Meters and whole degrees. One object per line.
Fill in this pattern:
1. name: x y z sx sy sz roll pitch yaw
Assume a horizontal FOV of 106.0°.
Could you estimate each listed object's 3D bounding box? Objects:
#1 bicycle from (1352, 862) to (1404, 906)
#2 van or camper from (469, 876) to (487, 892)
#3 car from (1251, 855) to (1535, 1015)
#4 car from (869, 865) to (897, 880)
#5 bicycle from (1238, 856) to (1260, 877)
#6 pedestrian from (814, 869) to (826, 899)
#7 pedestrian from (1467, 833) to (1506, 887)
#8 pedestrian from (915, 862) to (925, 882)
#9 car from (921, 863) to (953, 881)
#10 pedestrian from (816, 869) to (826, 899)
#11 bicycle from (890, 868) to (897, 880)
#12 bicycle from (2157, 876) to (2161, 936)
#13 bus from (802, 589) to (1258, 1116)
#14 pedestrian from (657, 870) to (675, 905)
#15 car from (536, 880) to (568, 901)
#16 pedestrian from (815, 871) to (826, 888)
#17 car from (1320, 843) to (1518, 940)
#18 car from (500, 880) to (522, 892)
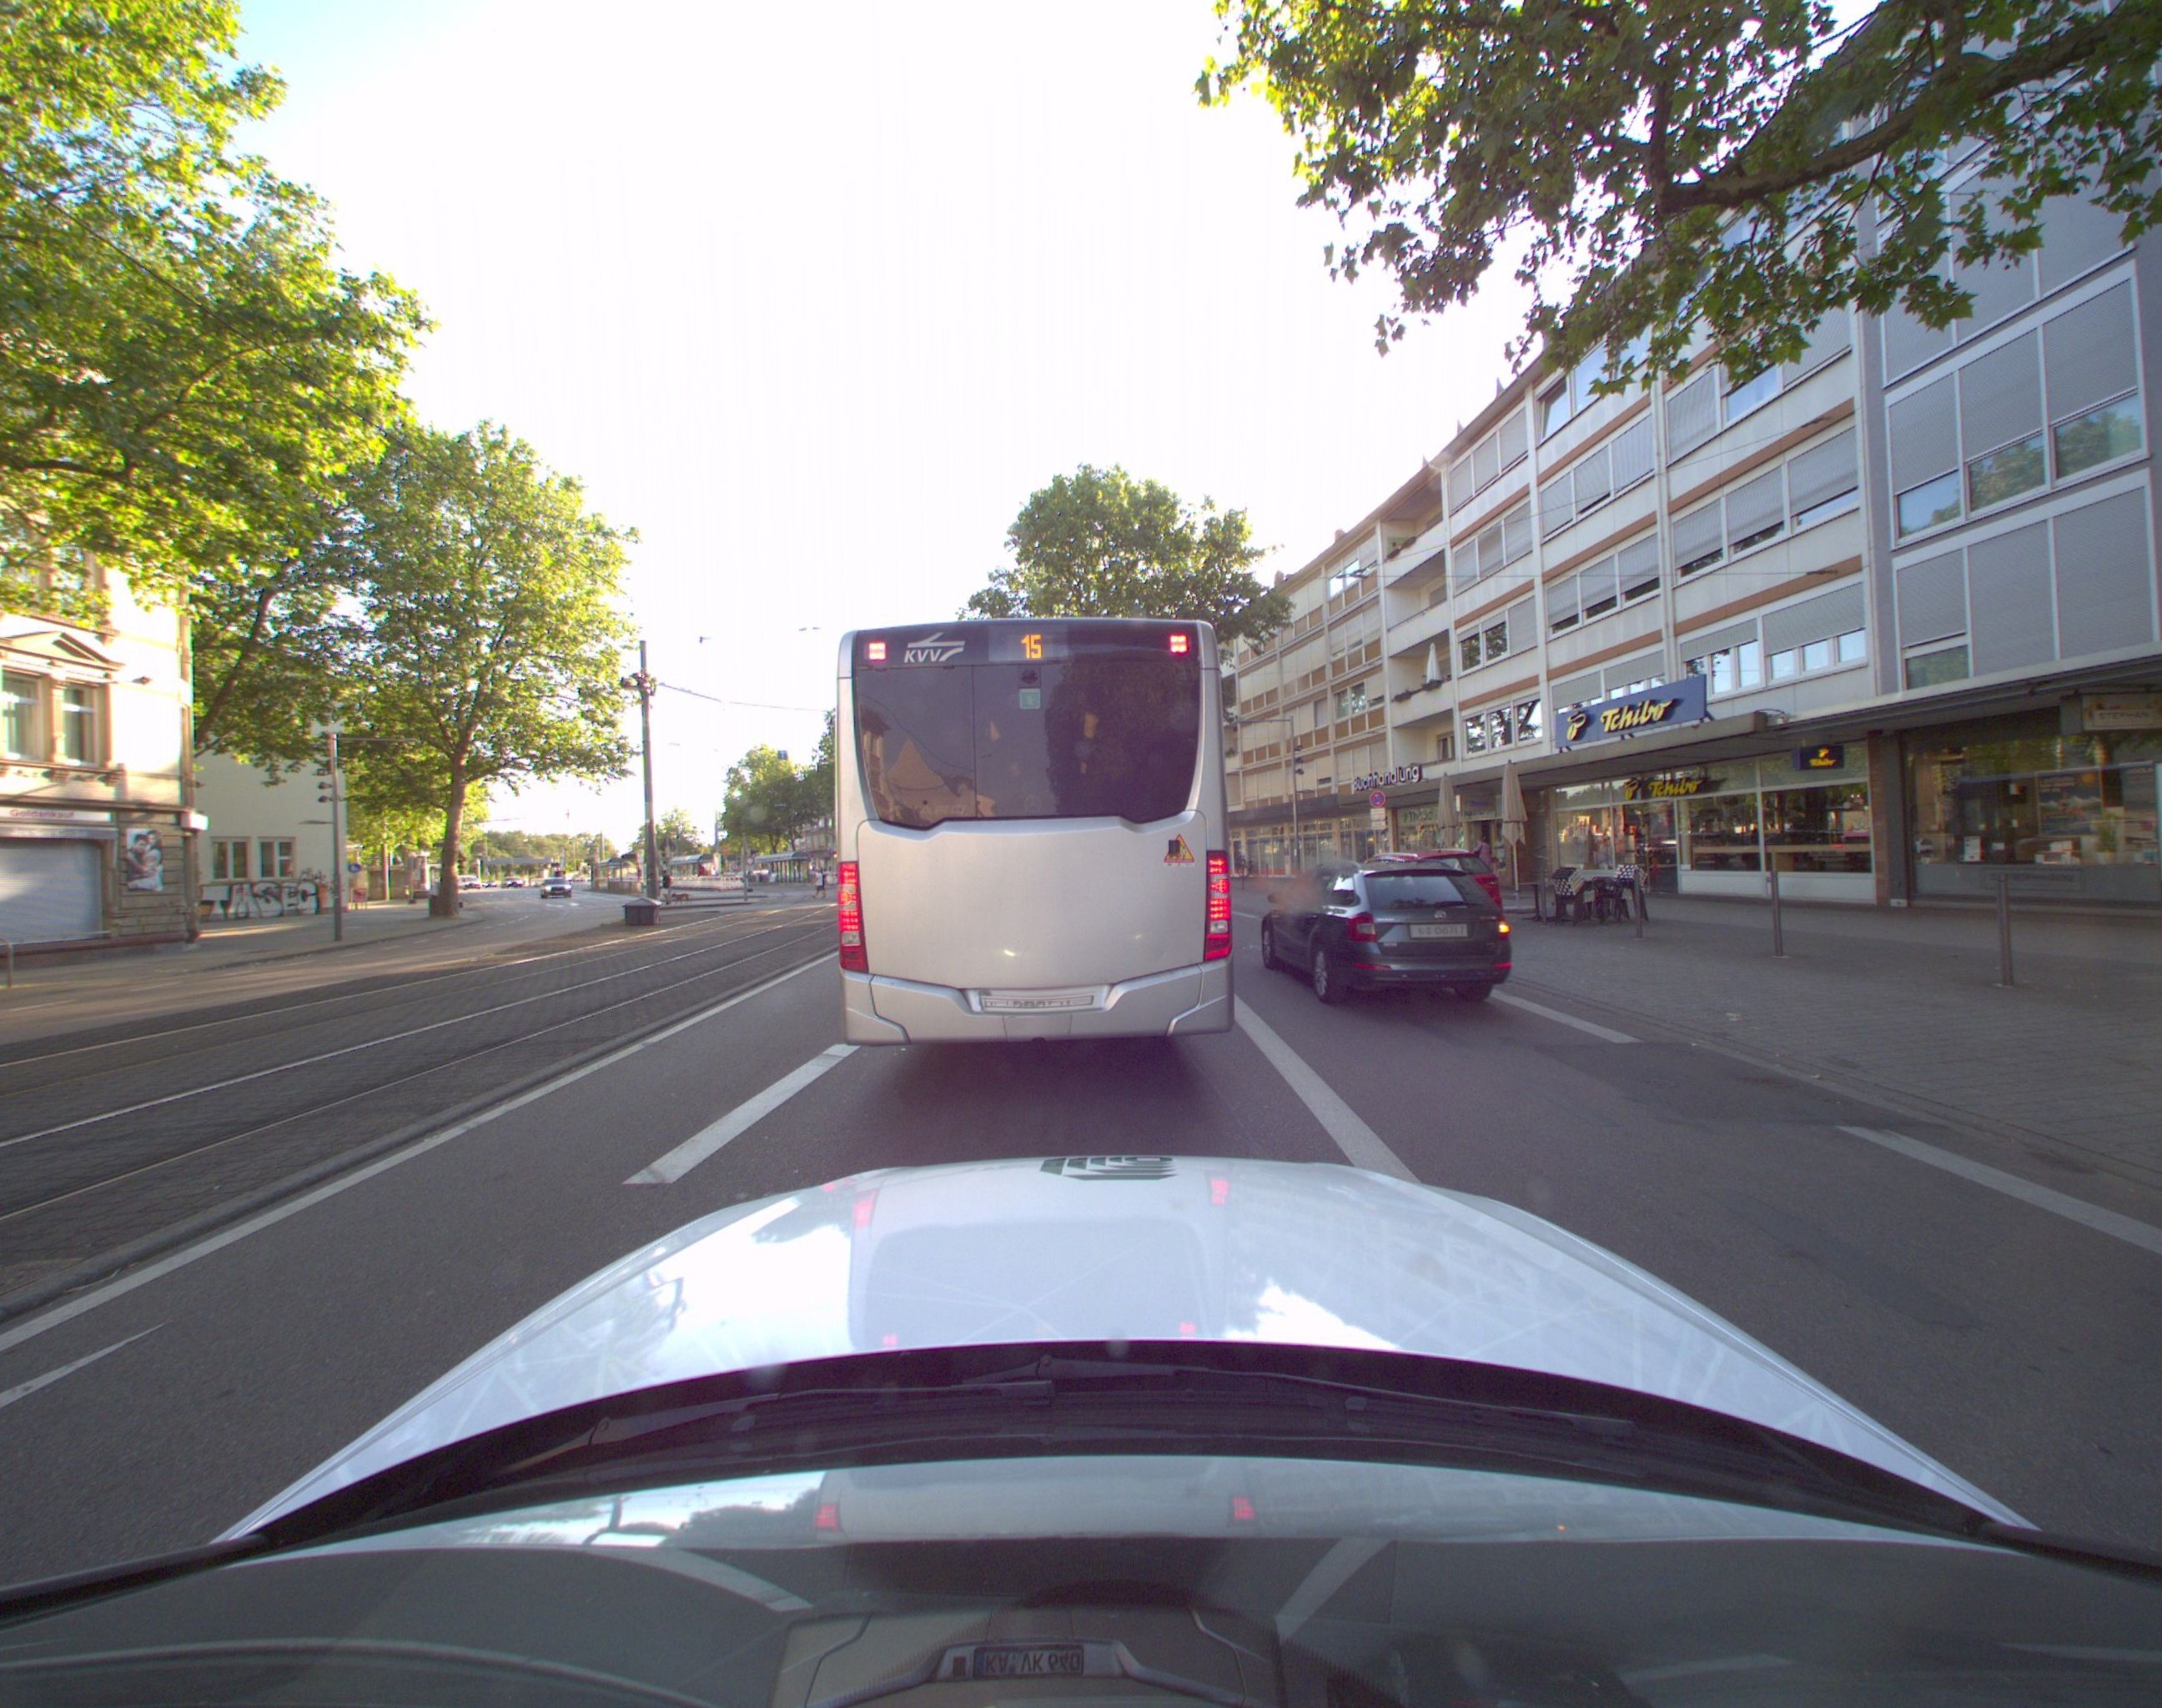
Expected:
1. bicycle: 7.836 0.776 21.569 0.511 1.070 1.657 -4 0 -7
2. van or camper: -94.952 4.707 128.256 2.184 2.319 5.047 -2 -1 -36
3. car: 3.317 0.770 9.587 1.798 1.474 4.071 0 -1 0
4. car: -21.546 2.044 88.717 1.675 1.468 3.375 -6 2 -36
5. bicycle: 9.354 0.693 45.373 0.438 1.092 1.453 -5 0 -18
6. pedestrian: -13.247 1.500 41.320 0.522 1.504 0.589 -2 -1 -21
7. pedestrian: 11.904 0.172 23.914 0.638 1.552 0.806 -2 -1 -6
8. pedestrian: -13.937 1.589 70.515 0.713 1.725 0.402 -3 -1 32
9. car: -13.805 1.724 78.152 1.675 1.516 3.376 -6 2 -35
10. pedestrian: -13.397 1.558 41.911 0.410 1.504 0.513 -2 -1 -22
11. bicycle: -19.715 2.100 85.571 0.508 1.211 2.079 -2 0 -19
12. bicycle: 8.708 0.670 5.510 0.294 1.040 1.711 -5 0 -12
13. bus: -0.295 0.036 10.047 2.649 3.099 10.214 -2 -1 0
14. pedestrian: -20.609 1.663 40.414 0.426 1.710 0.681 -1 -1 33
15. car: -40.235 2.759 61.954 1.900 1.472 4.161 -2 -1 -35
16. pedestrian: -20.578 1.976 64.415 0.779 1.303 0.590 -2 -1 -19
17. car: 6.350 0.638 15.955 1.774 1.496 4.563 -4 0 -2
18. car: -84.260 4.754 120.346 1.903 1.585 4.154 -2 -1 -45
